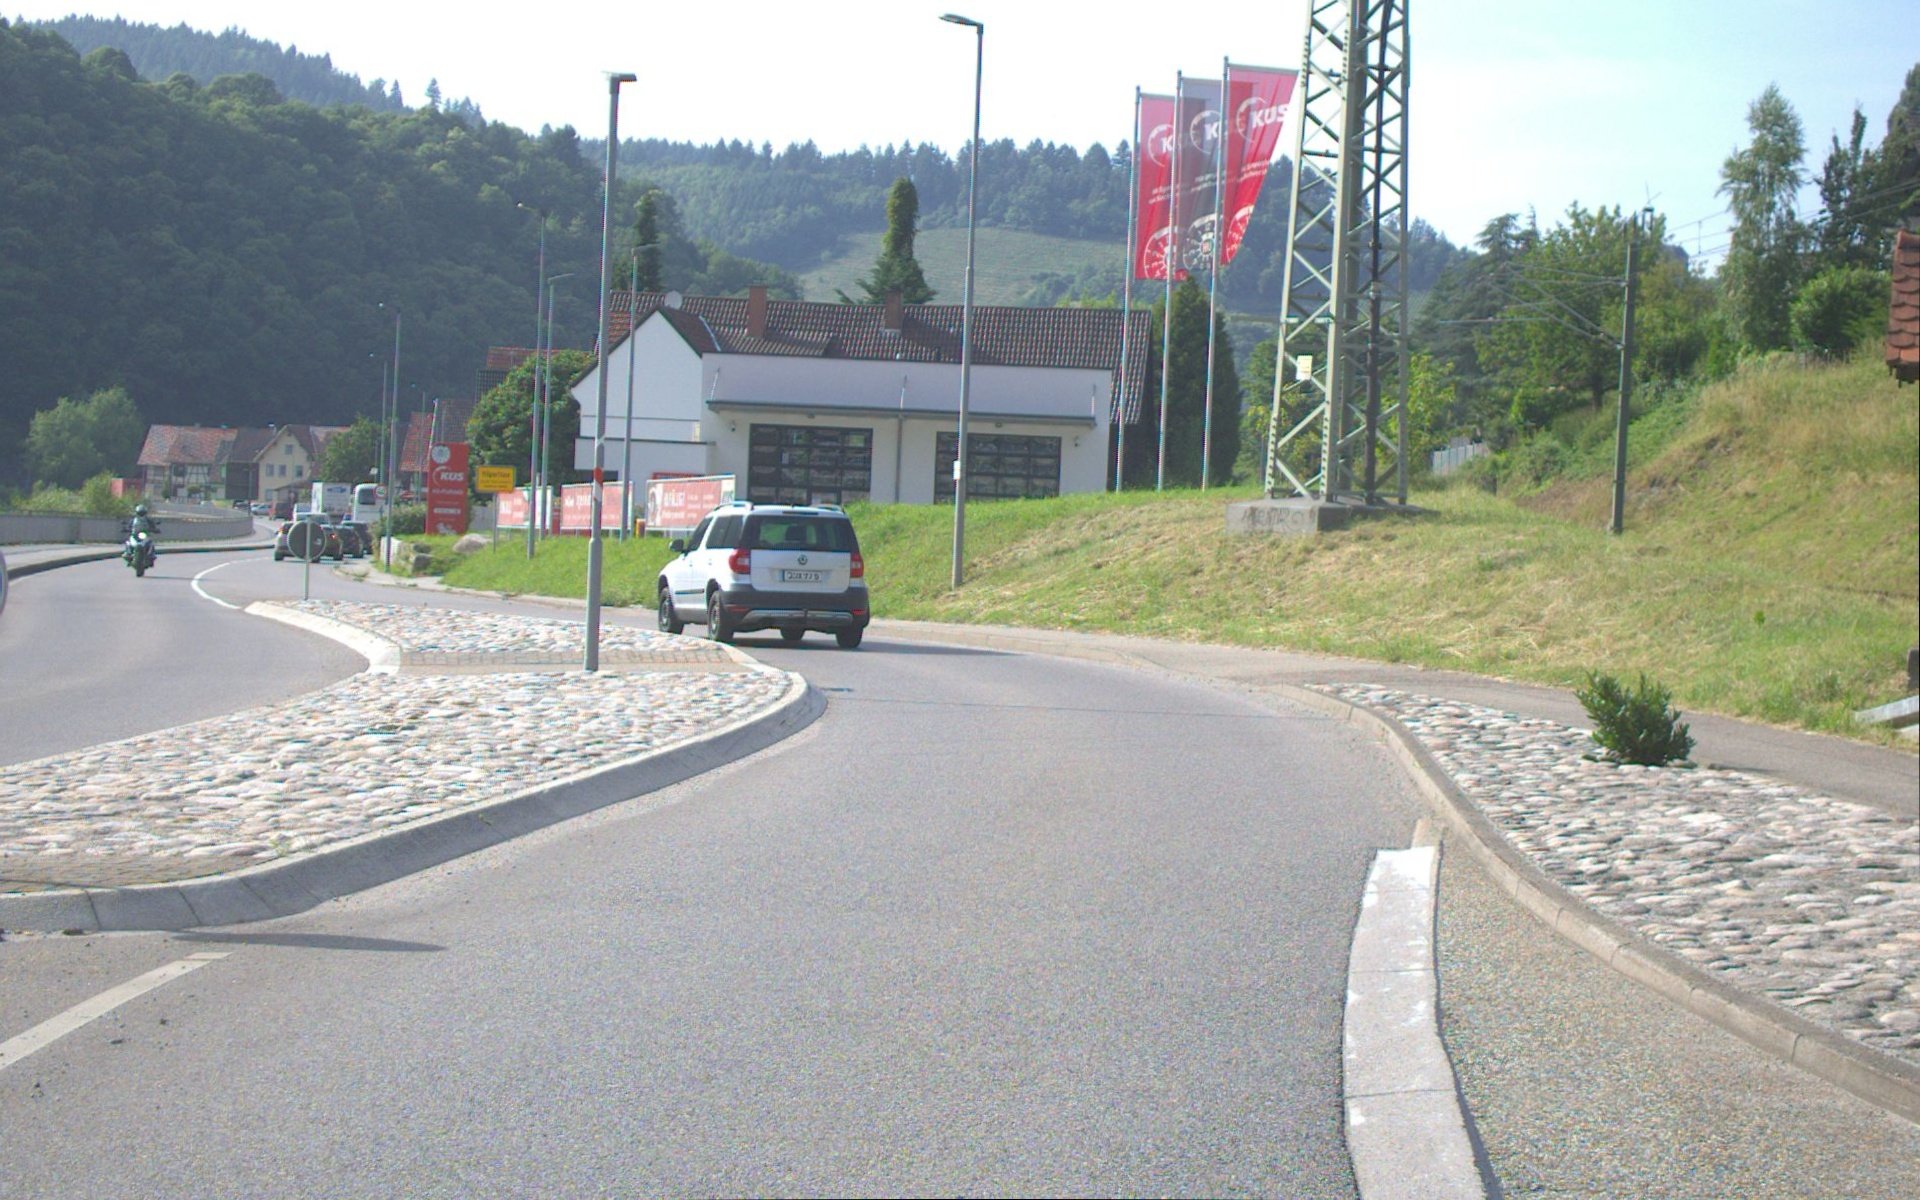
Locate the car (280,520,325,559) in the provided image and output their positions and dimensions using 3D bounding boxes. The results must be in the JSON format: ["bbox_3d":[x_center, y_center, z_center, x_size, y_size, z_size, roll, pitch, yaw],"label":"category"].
[{"bbox_3d":[-25.862,-2.387,135.243,1.453,1.430,2.937,3,2,-7],"label":"car"}]

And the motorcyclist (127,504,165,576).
[{"bbox_3d":[-19.380,-1.424,81.870,0.763,1.672,0.727,1,0,-7],"label":"motorcyclist"}]

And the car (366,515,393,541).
[{"bbox_3d":[-28.238,-3.515,167.308,1.170,1.151,2.685,3,2,-11],"label":"car"}]

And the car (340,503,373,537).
[{"bbox_3d":[-27.479,-3.634,156.498,1.292,1.430,2.807,3,2,-8],"label":"car"}]

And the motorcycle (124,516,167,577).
[{"bbox_3d":[-19.401,-1.285,81.896,0.772,1.417,2.319,1,1,-8],"label":"motorcycle"}]

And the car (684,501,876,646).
[{"bbox_3d":[-2.191,-0.332,40.850,1.860,1.539,4.374,3,0,-8],"label":"car"}]
